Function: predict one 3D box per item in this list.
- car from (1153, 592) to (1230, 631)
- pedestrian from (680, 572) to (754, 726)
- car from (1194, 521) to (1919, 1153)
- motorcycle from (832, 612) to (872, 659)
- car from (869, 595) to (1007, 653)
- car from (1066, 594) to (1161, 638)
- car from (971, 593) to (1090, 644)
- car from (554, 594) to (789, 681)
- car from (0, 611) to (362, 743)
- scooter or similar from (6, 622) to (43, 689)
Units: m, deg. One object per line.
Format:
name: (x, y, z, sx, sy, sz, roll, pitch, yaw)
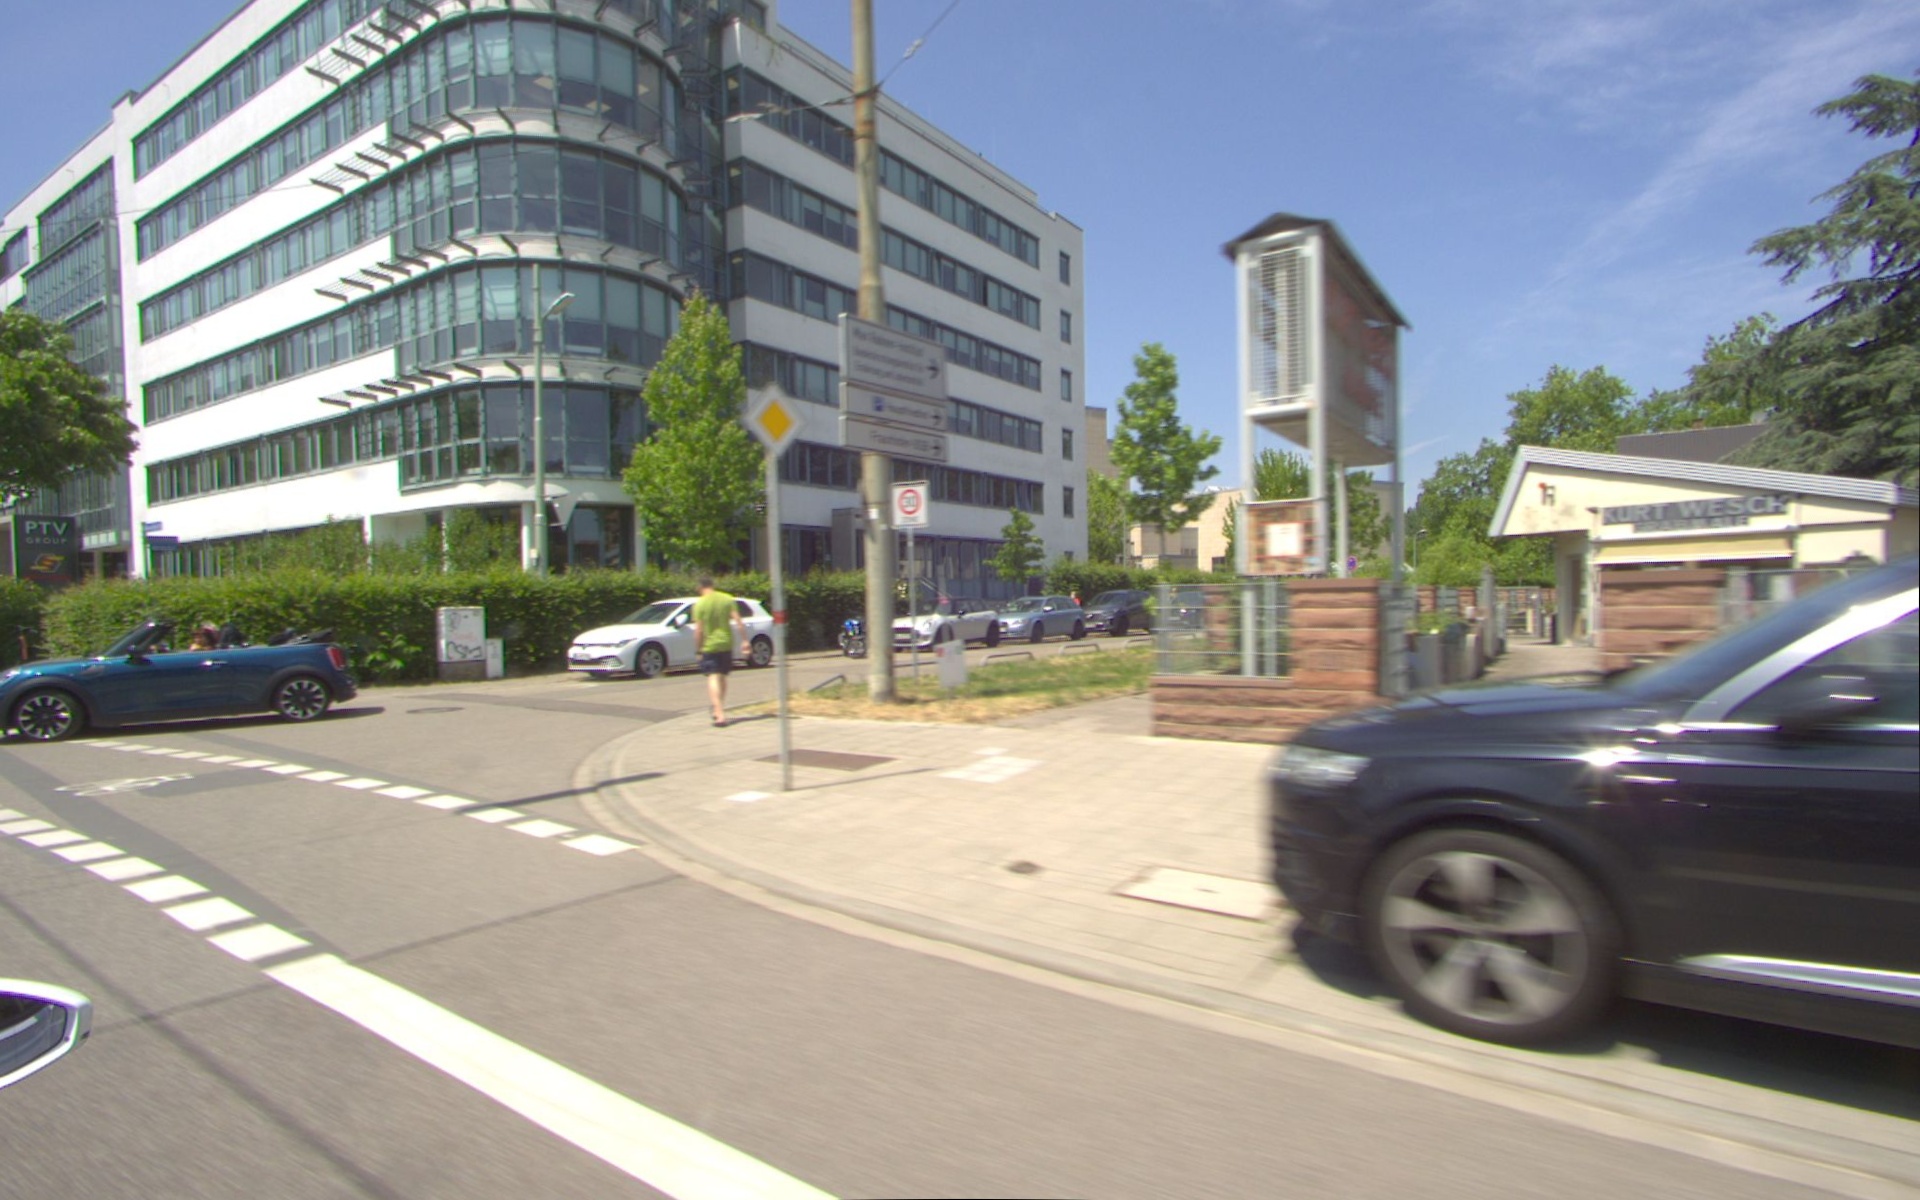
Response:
car: (9.758, 0.447, 42.021, 1.744, 1.515, 4.136, -1, 0, 34)
pedestrian: (-2.804, 0.540, 11.511, 0.722, 1.689, 0.838, -1, 0, -20)
car: (3.507, 0.603, 3.201, 5.015, 1.716, 1.917, -1, 2, 36)
motorcycle: (-2.612, 0.834, 24.085, 0.590, 1.048, 2.013, -1, 0, -17)
car: (-0.515, 0.605, 27.331, 1.743, 1.428, 4.138, -1, 0, 33)
car: (5.536, 0.544, 35.722, 1.744, 1.428, 4.136, -1, 0, 34)
car: (2.298, 0.541, 31.373, 1.744, 1.428, 4.438, -1, 0, 34)
car: (-5.488, 0.648, 19.486, 1.795, 1.479, 4.131, -1, 0, 38)
car: (-9.955, 0.898, 12.839, 3.871, 1.390, 1.694, -1, 0, -31)
scooter or similar: (-17.715, 1.037, 18.978, 0.322, 1.238, 1.144, 0, -1, -34)
